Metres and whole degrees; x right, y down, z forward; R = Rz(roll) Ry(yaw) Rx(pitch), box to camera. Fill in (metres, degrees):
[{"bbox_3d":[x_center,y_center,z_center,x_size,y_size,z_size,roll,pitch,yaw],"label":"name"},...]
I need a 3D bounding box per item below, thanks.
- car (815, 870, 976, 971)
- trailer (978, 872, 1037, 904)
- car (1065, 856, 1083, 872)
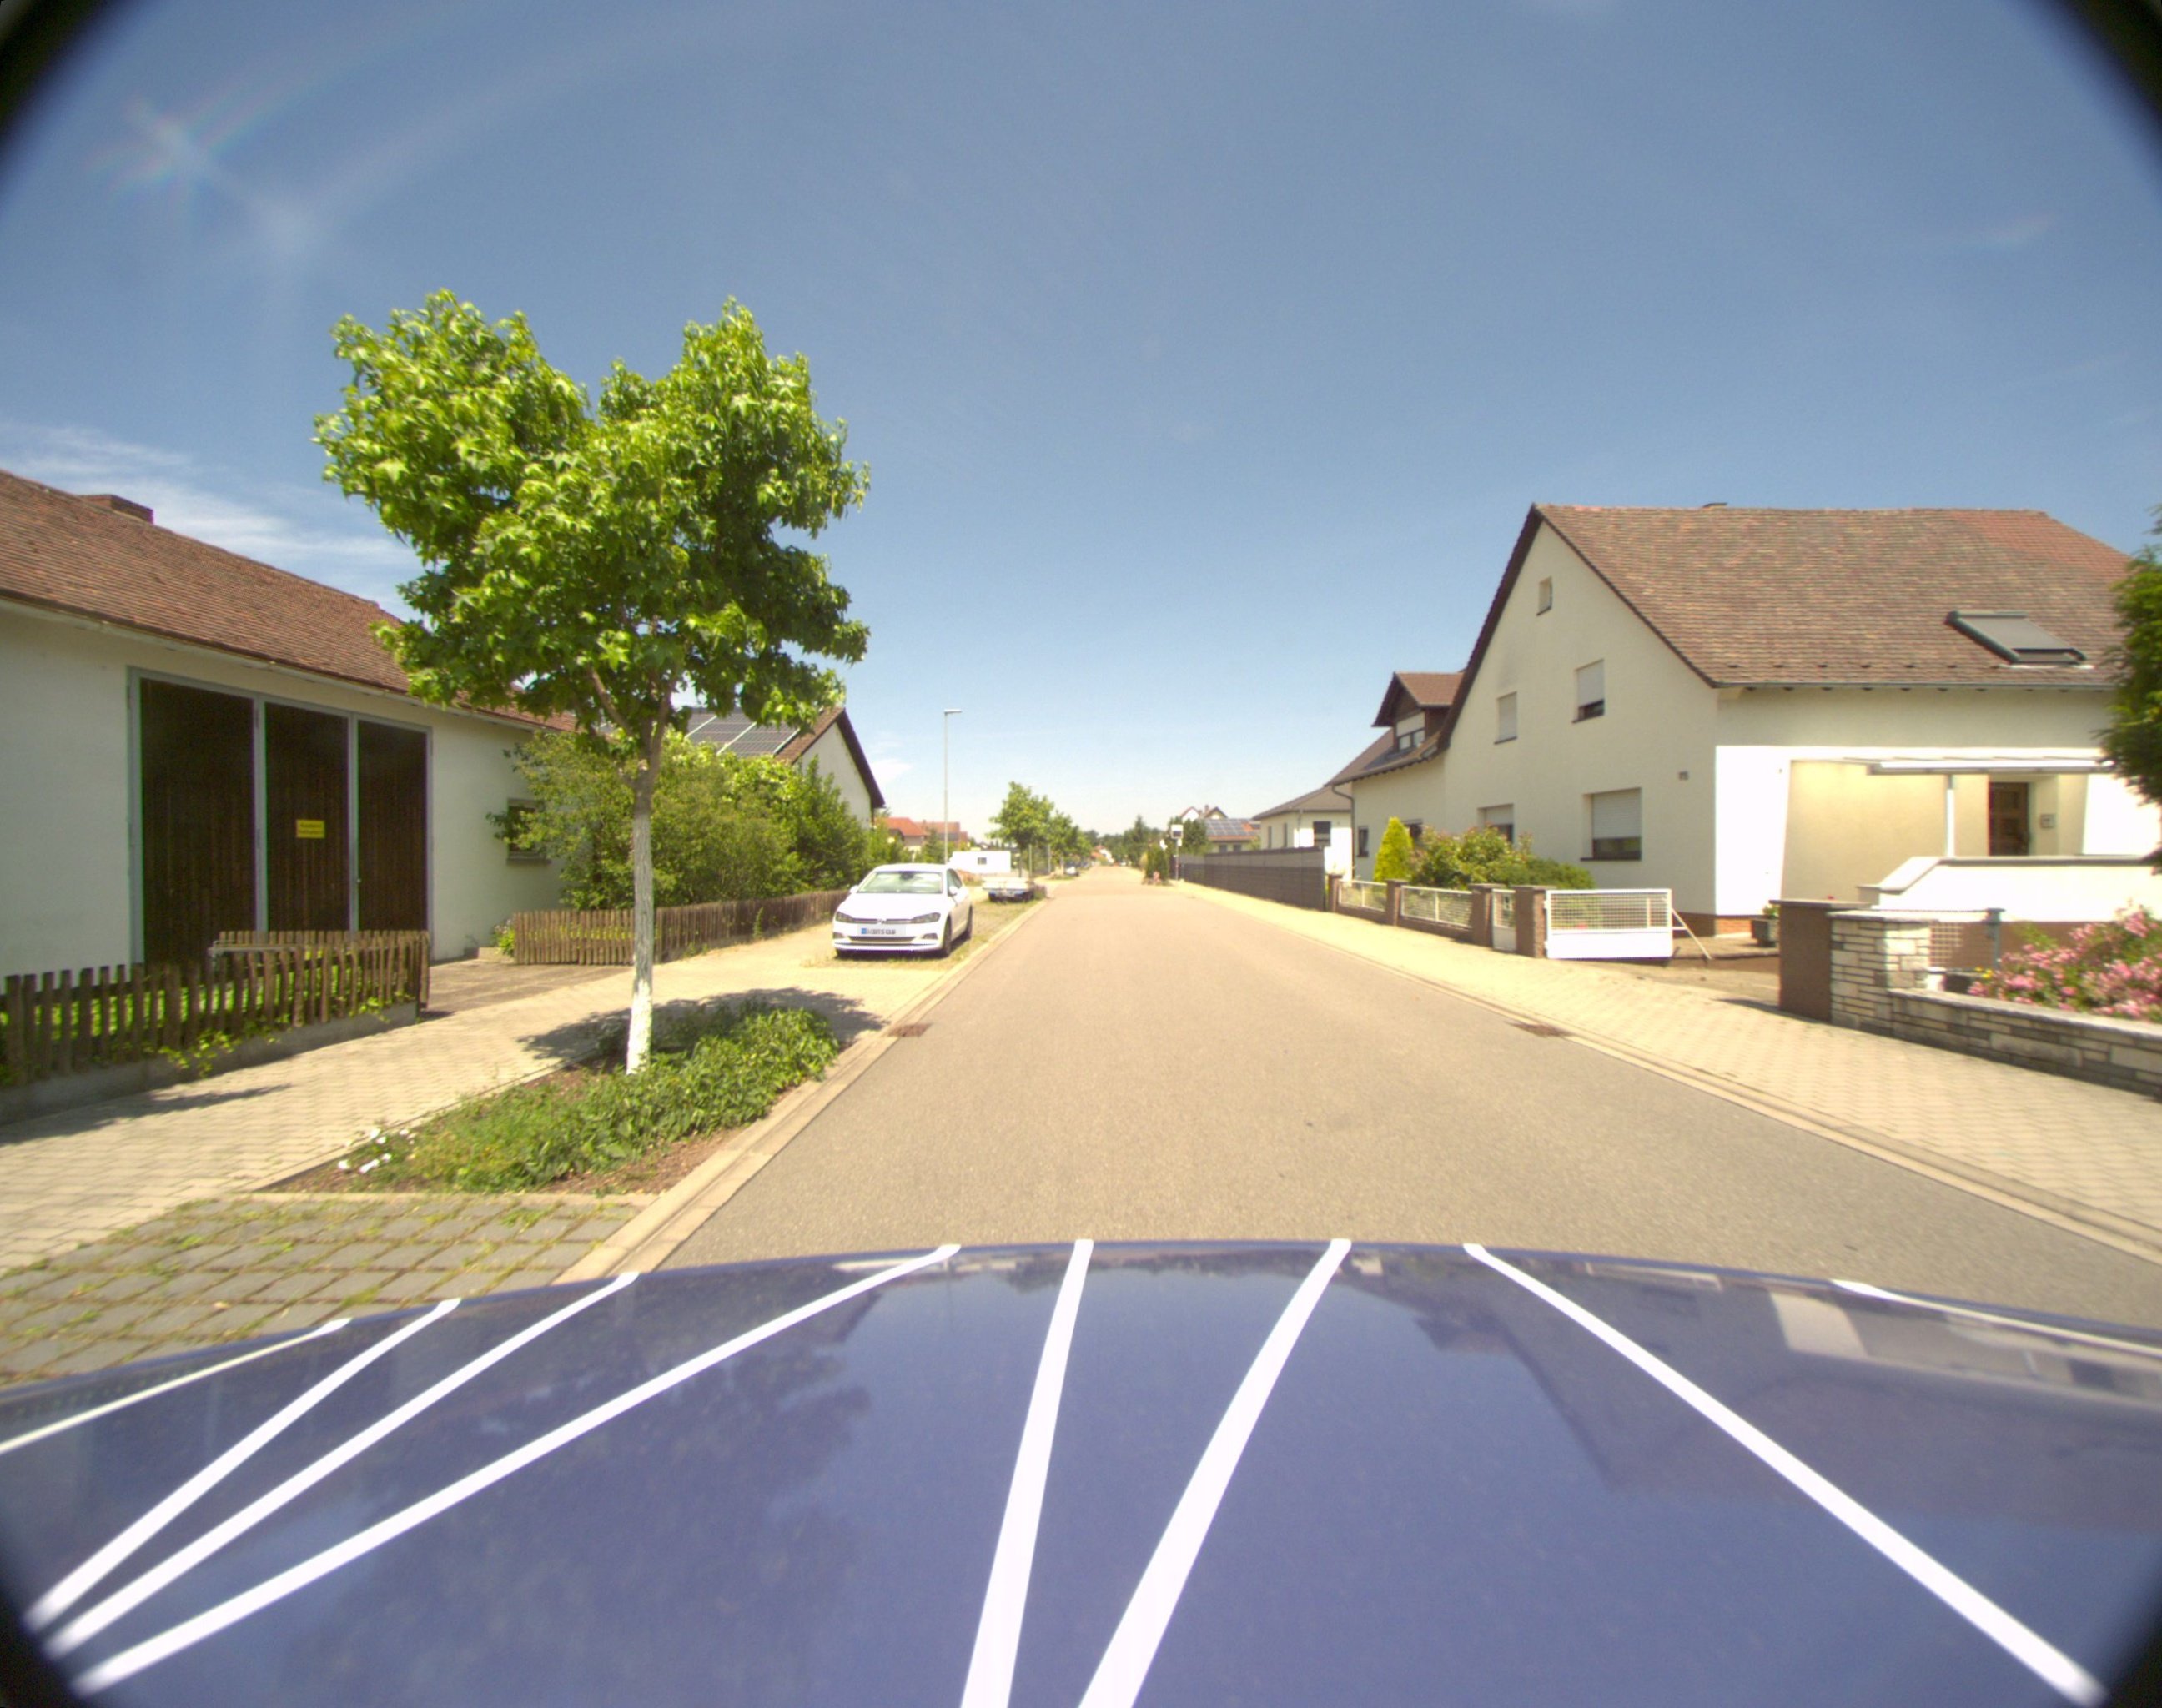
[{"bbox_3d":[-2.955,1.003,12.960,1.819,1.411,3.868,0,0,0],"label":"car"},{"bbox_3d":[-2.626,1.214,27.762,1.792,1.052,2.899,0,0,1],"label":"trailer"},{"bbox_3d":[-0.712,1.046,81.038,1.597,1.630,3.804,1,0,4],"label":"car"}]
